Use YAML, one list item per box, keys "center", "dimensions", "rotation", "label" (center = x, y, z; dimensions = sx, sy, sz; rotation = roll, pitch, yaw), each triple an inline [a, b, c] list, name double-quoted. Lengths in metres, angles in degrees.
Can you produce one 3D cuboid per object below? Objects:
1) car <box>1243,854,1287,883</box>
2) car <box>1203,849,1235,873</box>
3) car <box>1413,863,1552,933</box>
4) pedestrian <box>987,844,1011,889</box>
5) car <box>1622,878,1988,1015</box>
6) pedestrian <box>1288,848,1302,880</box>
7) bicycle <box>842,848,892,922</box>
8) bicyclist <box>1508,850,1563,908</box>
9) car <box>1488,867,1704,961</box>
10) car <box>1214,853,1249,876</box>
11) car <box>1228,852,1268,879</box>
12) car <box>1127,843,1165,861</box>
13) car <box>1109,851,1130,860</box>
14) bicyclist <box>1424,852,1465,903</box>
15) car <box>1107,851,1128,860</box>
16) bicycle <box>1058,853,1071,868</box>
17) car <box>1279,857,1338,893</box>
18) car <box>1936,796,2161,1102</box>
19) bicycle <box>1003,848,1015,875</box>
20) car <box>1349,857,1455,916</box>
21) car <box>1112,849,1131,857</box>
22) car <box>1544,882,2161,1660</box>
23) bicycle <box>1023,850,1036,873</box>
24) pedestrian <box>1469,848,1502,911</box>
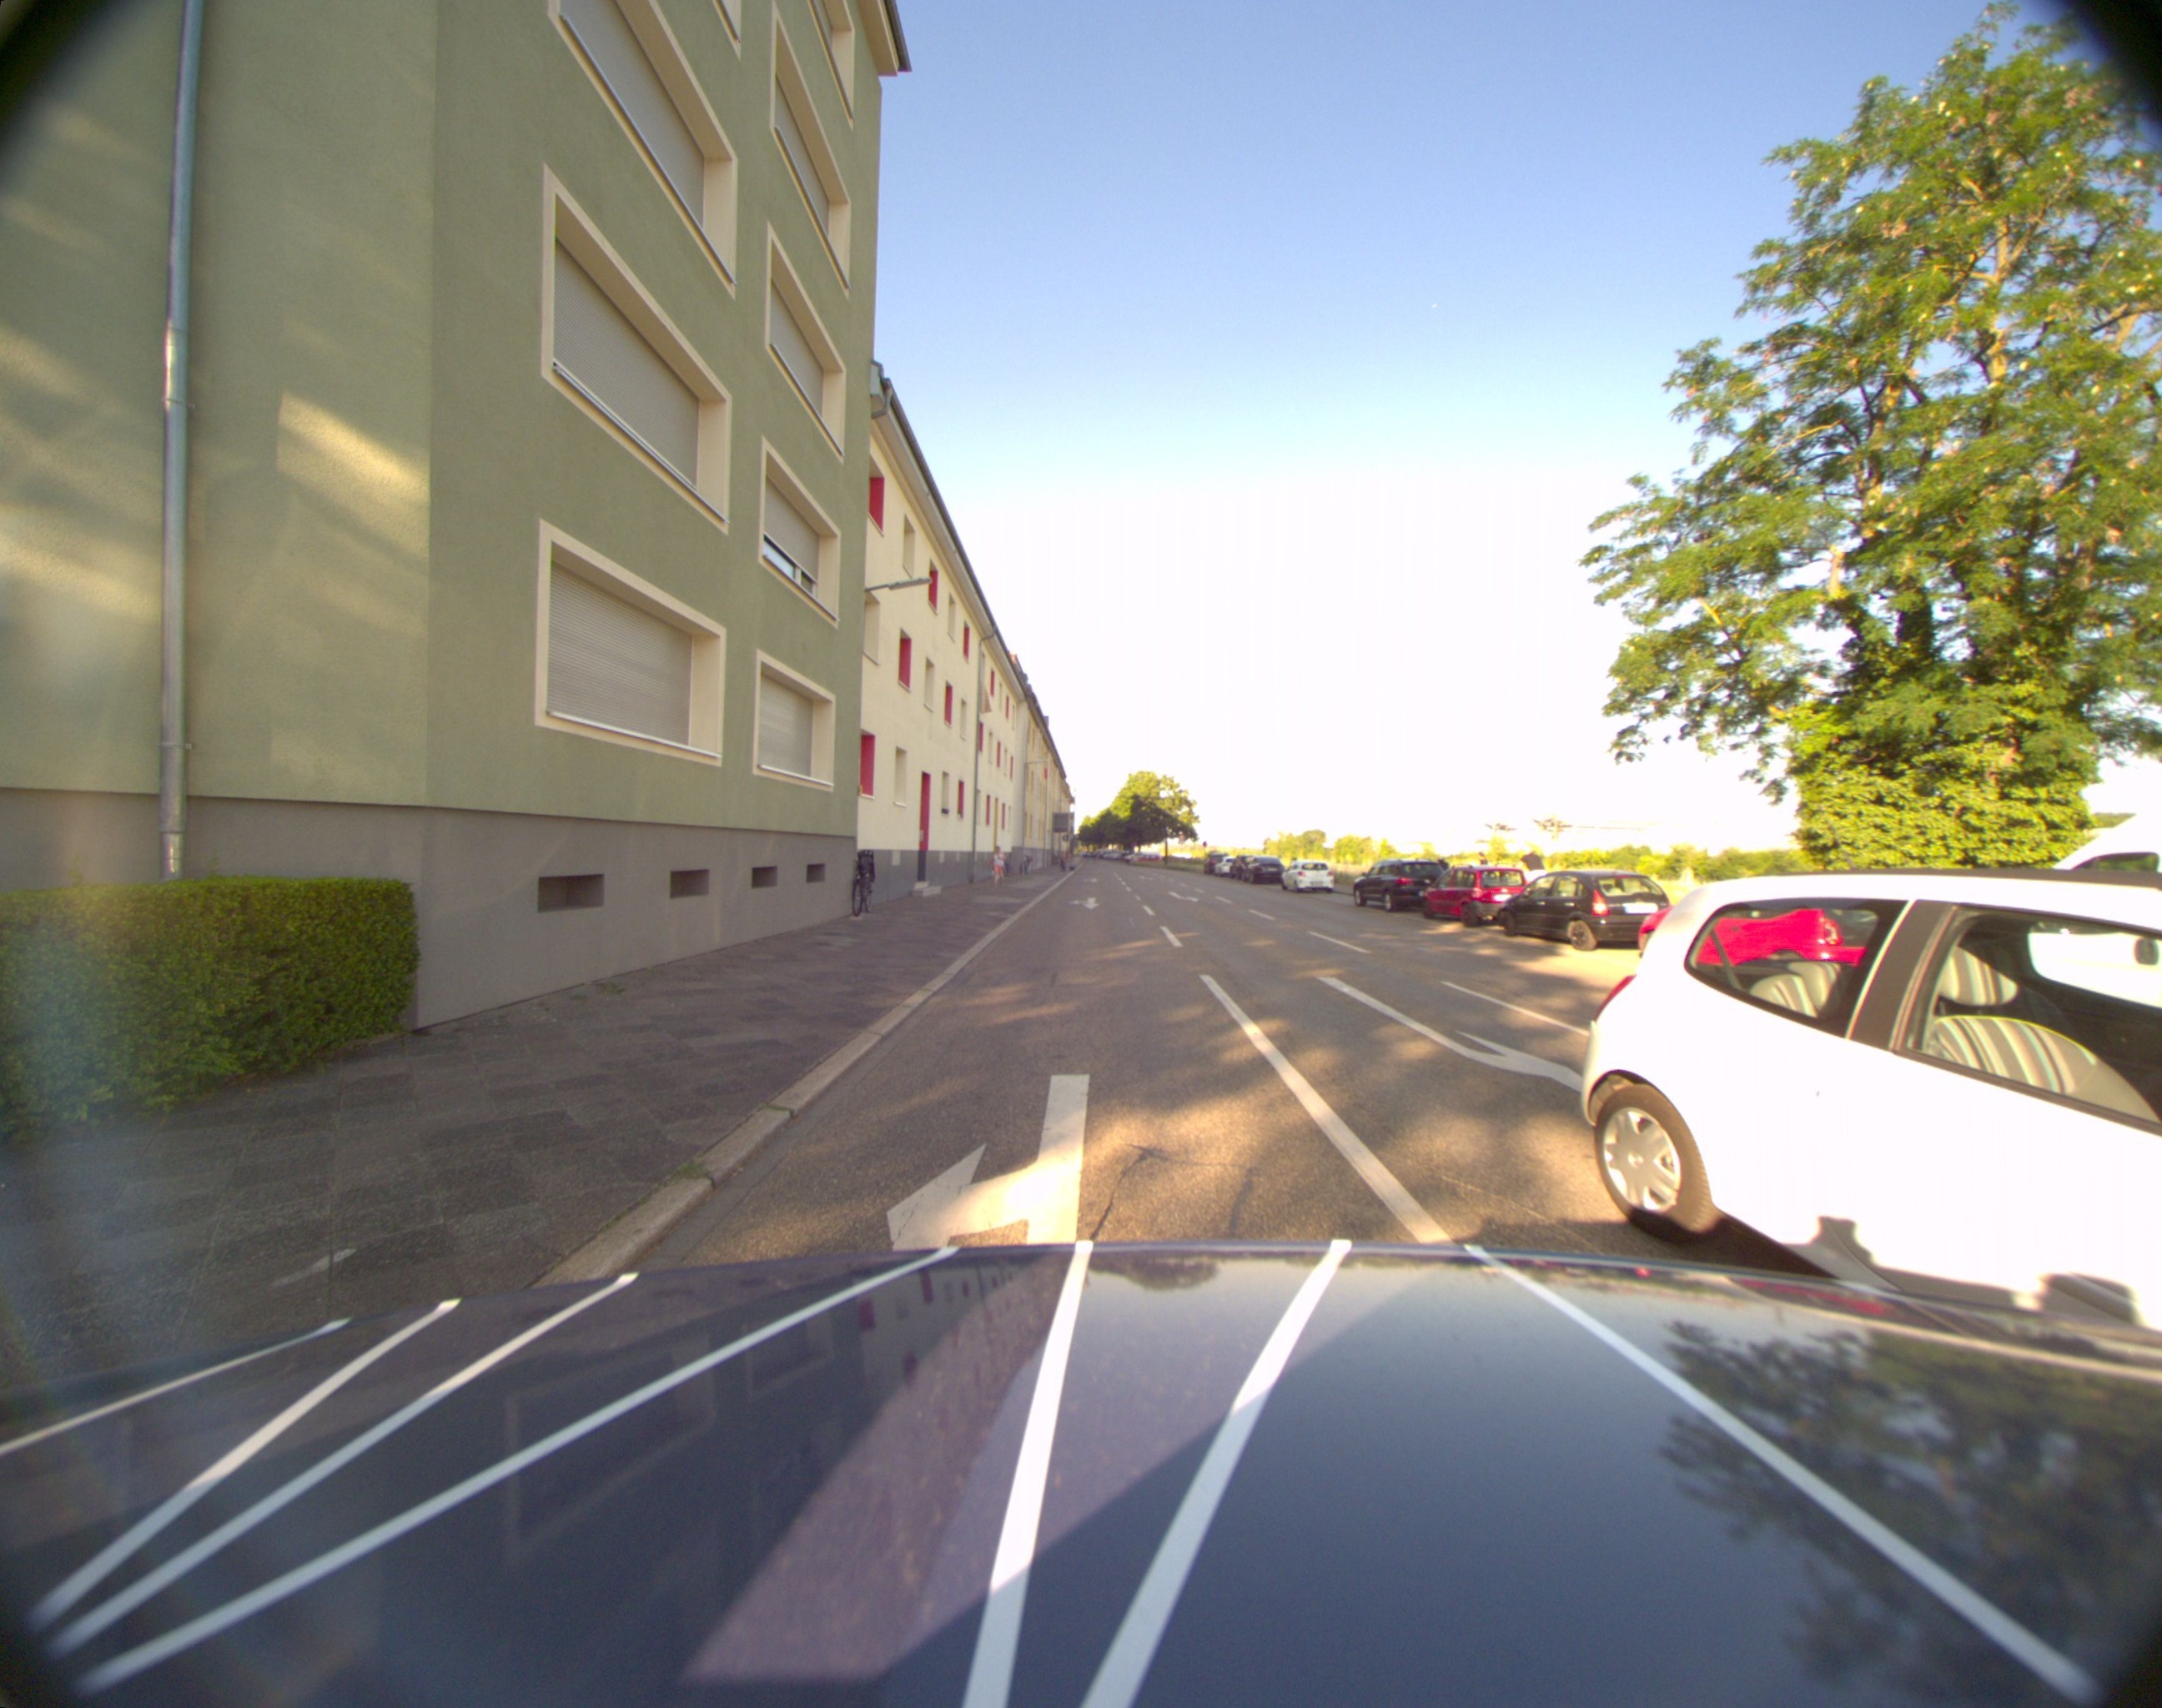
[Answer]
- center: [10.584, 0.815, 44.001]
  dimensions: [1.823, 1.517, 4.291]
  rotation: [2, 0, 5]
  label: "car"
- center: [11.018, 0.528, 60.979]
  dimensions: [1.890, 1.765, 4.220]
  rotation: [2, 1, 2]
  label: "car"
- center: [10.271, 1.063, 19.726]
  dimensions: [1.664, 1.521, 3.579]
  rotation: [2, 1, 0]
  label: "car"
- center: [-3.226, 0.476, 29.958]
  dimensions: [0.787, 1.697, 0.950]
  rotation: [3, 1, 1]
  label: "pedestrian"
- center: [10.075, 1.178, 11.040]
  dimensions: [1.745, 1.478, 3.694]
  rotation: [2, 1, 0]
  label: "car"
- center: [13.827, 0.627, 49.129]
  dimensions: [0.706, 2.002, 0.710]
  rotation: [2, 1, 2]
  label: "pedestrian"
- center: [-4.302, 0.577, 15.371]
  dimensions: [0.517, 1.404, 1.873]
  rotation: [2, 1, -3]
  label: "bicycle"
- center: [13.006, 0.705, 21.784]
  dimensions: [0.866, 1.587, 1.146]
  rotation: [2, 1, 1]
  label: "bicyclist"
- center: [10.178, 1.105, 15.409]
  dimensions: [1.745, 1.521, 3.816]
  rotation: [2, 1, 0]
  label: "car"
- center: [10.868, 0.711, 55.094]
  dimensions: [1.823, 1.565, 4.220]
  rotation: [2, 0, 2]
  label: "car"
- center: [10.861, 0.685, 49.701]
  dimensions: [1.823, 1.628, 4.220]
  rotation: [2, 0, 2]
  label: "car"
- center: [9.545, -0.287, 112.240]
  dimensions: [5.322, 2.398, 2.266]
  rotation: [-2, 1, 0]
  label: "car"
- center: [7.517, 0.268, 149.732]
  dimensions: [3.997, 1.708, 2.000]
  rotation: [2, 1, -1]
  label: "car"
- center: [11.916, 0.751, 24.937]
  dimensions: [0.768, 1.587, 1.146]
  rotation: [2, 1, 2]
  label: "bicyclist"
- center: [7.449, 0.210, 155.315]
  dimensions: [3.997, 1.708, 2.000]
  rotation: [2, 1, -1]
  label: "car"
- center: [-1.233, 0.497, 56.841]
  dimensions: [0.651, 1.091, 2.201]
  rotation: [1, 1, -8]
  label: "bicycle"
- center: [10.422, 0.922, 35.067]
  dimensions: [1.706, 1.517, 3.583]
  rotation: [2, 1, 1]
  label: "car"
- center: [9.694, 0.746, 4.817]
  dimensions: [2.235, 2.422, 5.559]
  rotation: [-1, 1, -1]
  label: "car"
- center: [-3.921, 0.386, 41.375]
  dimensions: [0.517, 1.404, 1.873]
  rotation: [2, 1, -3]
  label: "bicycle"
- center: [10.151, 0.950, 24.347]
  dimensions: [1.664, 1.649, 4.005]
  rotation: [2, 1, 0]
  label: "car"
- center: [9.228, -0.205, 173.163]
  dimensions: [3.997, 1.708, 2.000]
  rotation: [2, 1, -1]
  label: "car"
- center: [3.019, 0.894, 1.608]
  dimensions: [1.705, 1.460, 3.775]
  rotation: [2, 0, -1]
  label: "car"
- center: [-3.150, 0.438, 46.307]
  dimensions: [0.517, 1.318, 2.210]
  rotation: [2, 1, 2]
  label: "bicycle"
- center: [13.193, 0.818, 24.803]
  dimensions: [0.615, 2.002, 0.730]
  rotation: [2, 1, -1]
  label: "pedestrian"
